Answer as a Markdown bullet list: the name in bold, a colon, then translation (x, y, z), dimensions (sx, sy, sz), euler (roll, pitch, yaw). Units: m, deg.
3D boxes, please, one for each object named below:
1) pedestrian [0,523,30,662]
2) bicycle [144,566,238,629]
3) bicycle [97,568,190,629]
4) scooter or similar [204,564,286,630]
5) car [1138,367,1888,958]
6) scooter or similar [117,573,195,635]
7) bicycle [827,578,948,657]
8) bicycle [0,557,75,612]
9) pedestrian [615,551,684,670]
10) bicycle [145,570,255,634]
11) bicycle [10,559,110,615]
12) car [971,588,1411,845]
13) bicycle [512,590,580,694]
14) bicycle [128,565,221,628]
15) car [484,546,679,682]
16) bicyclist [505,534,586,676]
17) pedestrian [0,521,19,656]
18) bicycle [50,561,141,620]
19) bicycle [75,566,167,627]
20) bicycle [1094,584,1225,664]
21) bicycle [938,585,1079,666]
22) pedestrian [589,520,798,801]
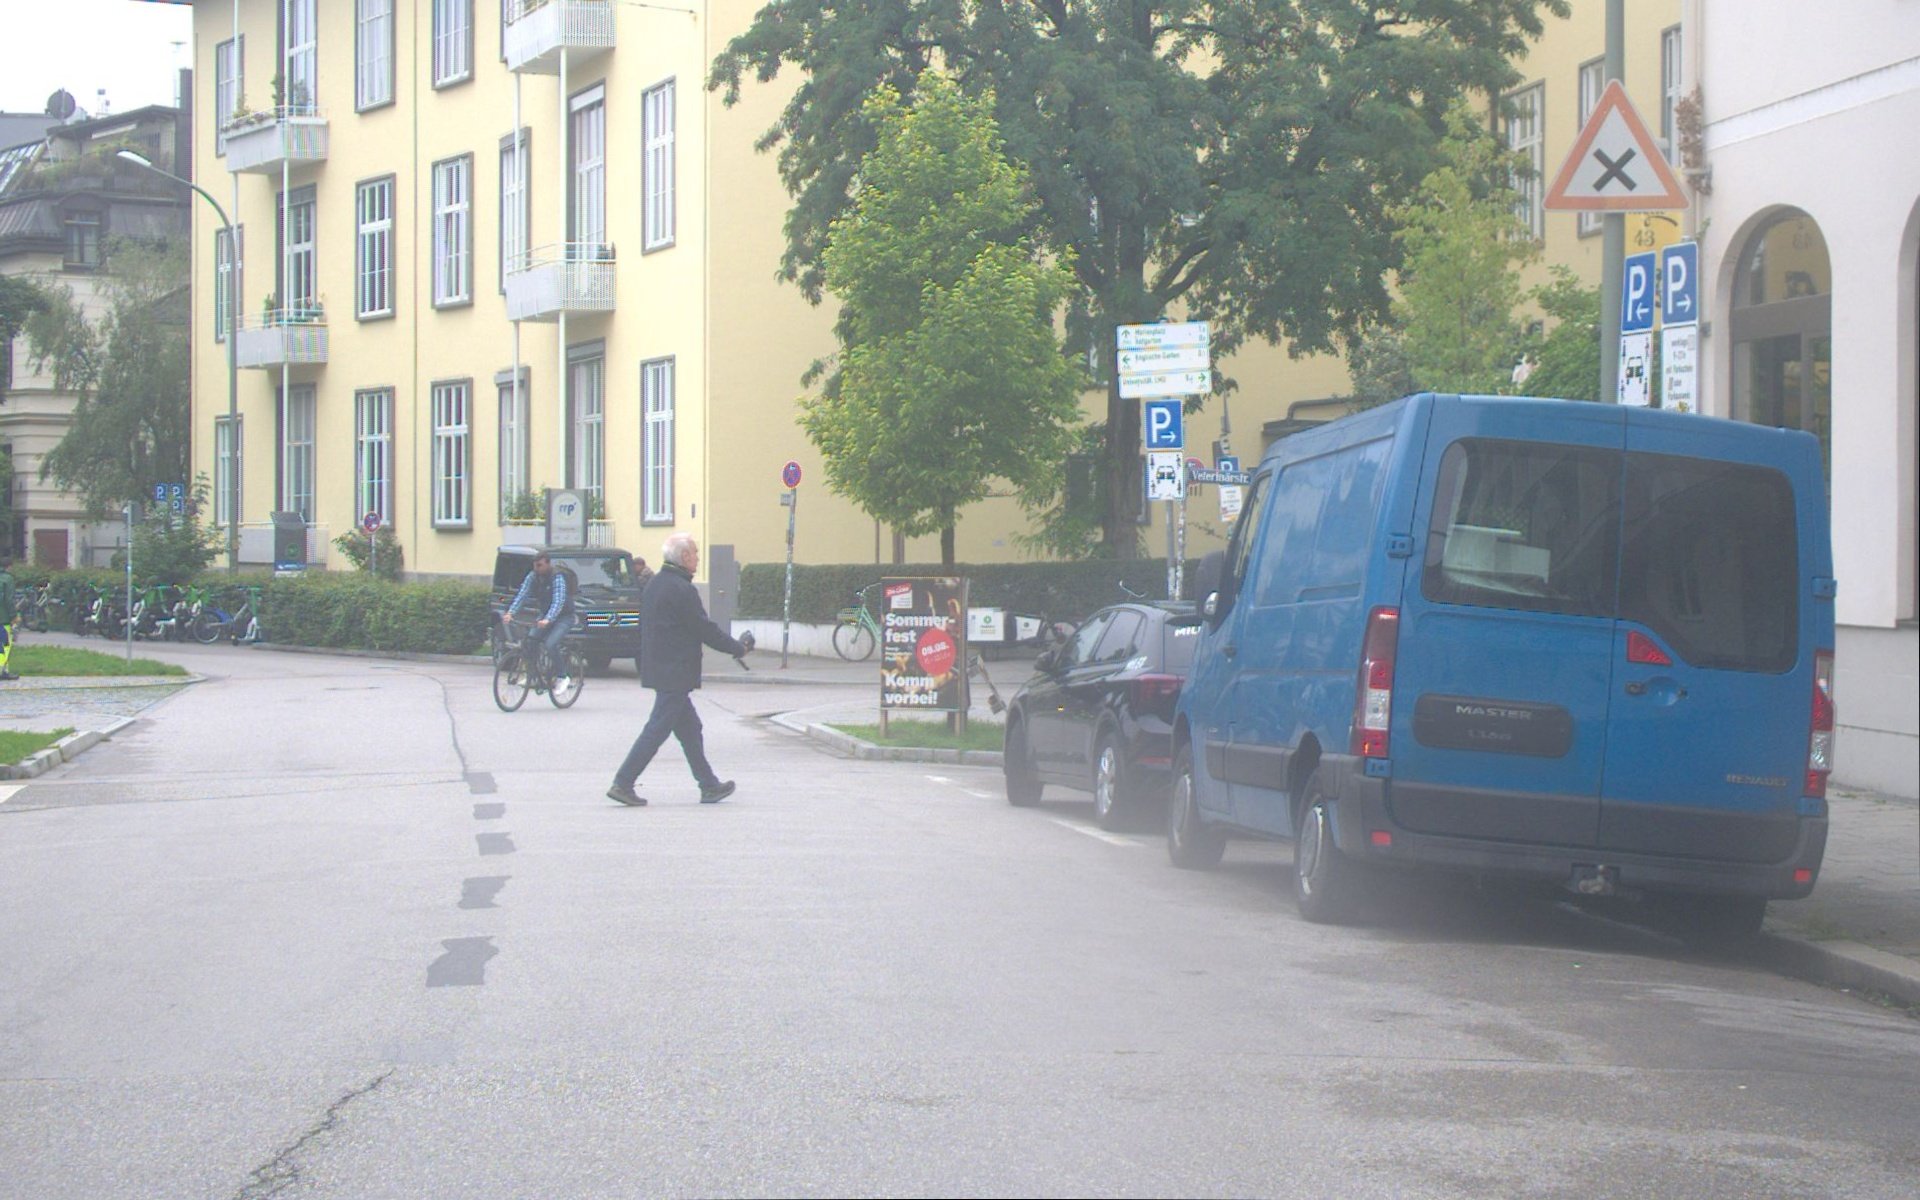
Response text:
- **pedestrian**: translation (-14.158, -0.117, 50.254), dimensions (0.931, 2.007, 0.957), euler (0, 1, -4)
- **bicycle**: translation (-16.194, -0.065, 72.475), dimensions (0.733, 1.301, 2.153), euler (1, 1, 27)
- **bicycle**: translation (-17.581, -0.042, 74.102), dimensions (0.733, 1.301, 2.153), euler (1, 1, 27)
- **scooter or similar**: translation (-14.472, -0.065, 69.671), dimensions (0.732, 1.301, 2.154), euler (0, 1, 15)
- **car**: translation (2.367, 0.267, 16.405), dimensions (2.078, 2.226, 5.245), euler (4, -1, -6)
- **scooter or similar**: translation (-17.200, 0.085, 73.582), dimensions (0.733, 1.301, 1.728), euler (1, 1, 23)
- **bicycle**: translation (-1.146, 0.265, 53.941), dimensions (1.926, 1.197, 0.594), euler (1, 1, 37)
- **bicycle**: translation (-22.226, -0.379, 81.848), dimensions (2.148, 1.301, 0.734), euler (0, 1, -26)
- **pedestrian**: translation (-4.813, 0.156, 53.222), dimensions (0.874, 1.817, 0.798), euler (0, 1, -20)
- **bicycle**: translation (-15.557, 0.033, 70.437), dimensions (0.734, 1.301, 2.150), euler (1, 1, 44)
- **bicycle**: translation (-20.966, -0.302, 80.112), dimensions (2.148, 1.301, 0.734), euler (0, 1, -26)
- **car**: translation (1.392, 0.693, 22.567), dimensions (1.676, 1.384, 4.307), euler (4, 0, -12)
- **bicycle**: translation (-4.746, 0.464, 39.348), dimensions (0.670, 1.155, 2.004), euler (0, 0, -9)
- **bicycle**: translation (-16.728, -0.088, 73.262), dimensions (0.733, 1.301, 2.153), euler (1, 1, 27)
- **car**: translation (-5.884, 0.178, 53.021), dimensions (1.762, 1.868, 4.380), euler (4, 0, -22)
- **bicyclist**: translation (-4.764, 0.060, 39.453), dimensions (0.863, 1.602, 0.947), euler (0, 0, -9)
- **pedestrian**: translation (-14.712, -0.178, 51.695), dimensions (0.931, 2.007, 0.957), euler (0, 1, -4)
- **bicycle**: translation (-19.187, -0.222, 76.335), dimensions (0.733, 1.301, 2.153), euler (1, 1, 27)
- **bicycle**: translation (-18.223, -0.082, 74.710), dimensions (0.733, 1.301, 2.153), euler (1, 1, 27)
- **bicycle**: translation (3.051, 0.358, 52.702), dimensions (1.921, 1.197, 0.595), euler (1, 1, -4)
- **bicycle**: translation (0.747, 0.390, 52.744), dimensions (2.068, 1.197, 0.595), euler (1, 1, 14)
- **pedestrian**: translation (-1.748, 0.393, 22.586), dimensions (0.934, 1.794, 0.954), euler (-2, -1, 44)
